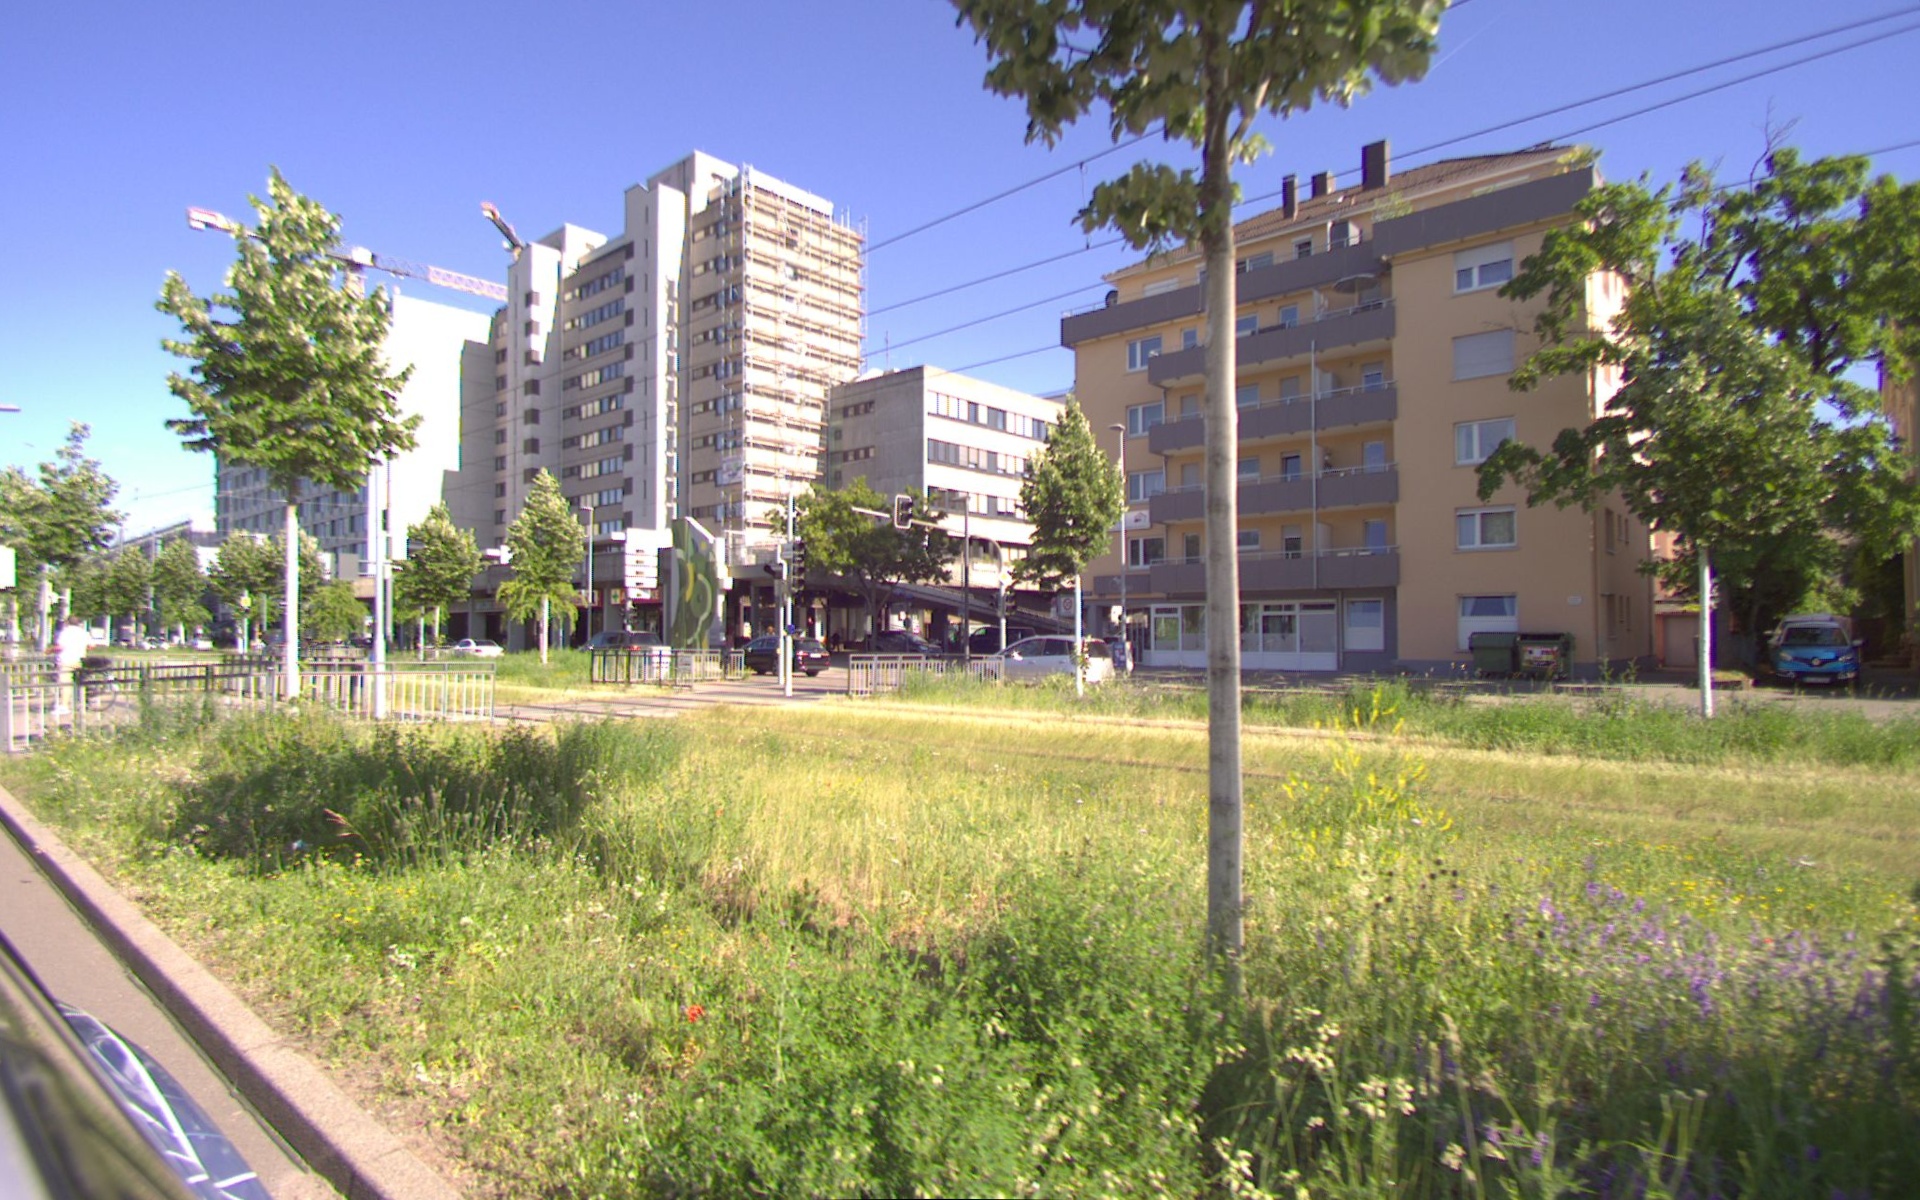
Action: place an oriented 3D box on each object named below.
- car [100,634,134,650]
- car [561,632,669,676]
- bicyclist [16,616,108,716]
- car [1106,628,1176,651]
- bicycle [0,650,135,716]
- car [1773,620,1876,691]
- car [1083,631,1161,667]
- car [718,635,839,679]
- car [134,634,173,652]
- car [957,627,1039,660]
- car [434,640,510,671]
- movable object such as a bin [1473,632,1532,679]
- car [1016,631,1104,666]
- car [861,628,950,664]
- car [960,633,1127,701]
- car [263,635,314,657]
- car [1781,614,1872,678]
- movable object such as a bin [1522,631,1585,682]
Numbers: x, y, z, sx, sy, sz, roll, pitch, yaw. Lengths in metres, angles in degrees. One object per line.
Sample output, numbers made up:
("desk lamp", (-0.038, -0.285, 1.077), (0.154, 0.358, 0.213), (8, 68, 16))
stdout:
("car", (-87.115, 4.349, 104.578), (4.590, 1.582, 1.890), (-2, -2, 40))
("car", (-13.521, 2.083, 39.577), (4.652, 1.609, 1.890), (-2, -2, 40))
("bicyclist", (-15.711, 1.135, 17.728), (0.810, 1.699, 0.858), (-1, -2, 6))
("car", (13.263, 2.902, 74.231), (4.642, 1.629, 1.991), (-2, -2, 34))
("bicycle", (-15.656, 1.439, 17.716), (1.959, 1.064, 0.723), (0, 0, 7))
("car", (22.923, 1.428, 26.969), (1.913, 1.740, 3.948), (-2, -2, 39))
("car", (8.649, 2.549, 53.717), (2.012, 1.793, 4.593), (-2, -2, 40))
("car", (-6.775, 2.081, 37.476), (4.652, 1.514, 1.890), (-2, -2, 40))
("car", (-72.979, 3.901, 91.605), (4.590, 1.582, 1.890), (-2, -2, 40))
("car", (2.280, 2.636, 61.153), (4.642, 1.934, 1.991), (-2, -2, 34))
("car", (-25.848, 2.898, 53.576), (4.652, 1.582, 1.890), (-2, -2, 40))
("movable object such as a bin", (16.609, 1.692, 31.004), (1.326, 1.381, 1.250), (-2, -2, 41))
("car", (4.928, 2.312, 49.260), (2.012, 1.605, 4.593), (-2, -2, 40))
("car", (-3.003, 2.521, 55.752), (4.642, 1.934, 1.991), (-2, -2, 34))
("car", (2.124, 1.683, 26.224), (3.991, 1.614, 1.725), (-2, -2, 35))
("car", (-49.178, 3.356, 74.104), (4.590, 1.582, 1.890), (-2, -2, 40))
("car", (26.300, 1.360, 30.820), (1.913, 1.806, 3.948), (-2, -2, 39))
("movable object such as a bin", (17.481, 1.630, 29.812), (1.327, 1.410, 1.249), (-2, -1, 44))
